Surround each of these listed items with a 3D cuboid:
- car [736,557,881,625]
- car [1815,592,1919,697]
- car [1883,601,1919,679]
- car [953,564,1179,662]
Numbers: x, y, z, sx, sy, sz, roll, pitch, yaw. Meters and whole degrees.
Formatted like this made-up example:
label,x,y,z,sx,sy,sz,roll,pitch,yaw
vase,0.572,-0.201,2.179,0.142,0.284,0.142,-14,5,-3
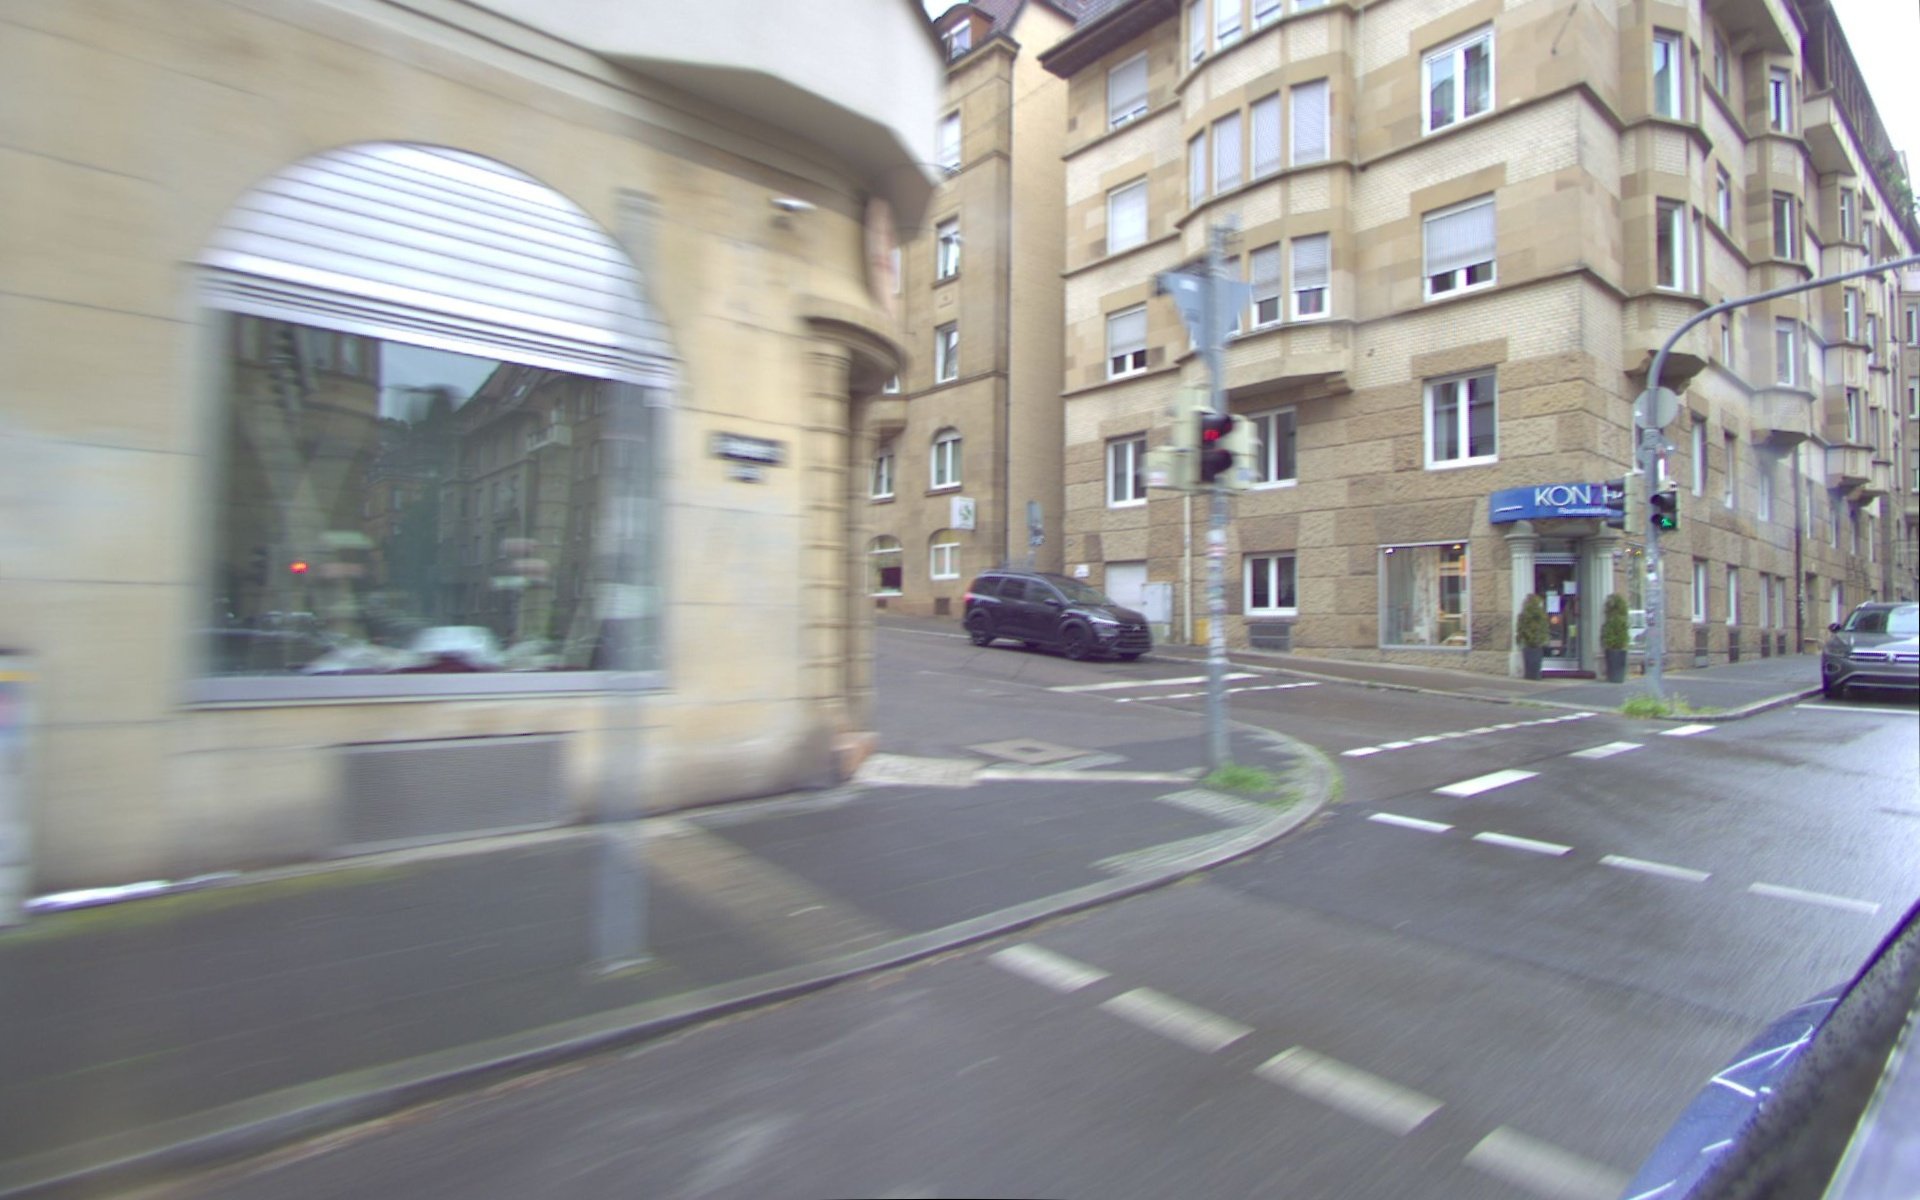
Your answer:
label,x,y,z,sx,sy,sz,roll,pitch,yaw
car,-4.383,-0.288,28.692,1.825,1.481,4.685,9,-3,-39
car,15.709,0.675,16.633,3.920,1.569,1.871,0,-2,-40
car,19.806,0.759,20.201,3.472,1.472,1.707,0,-2,-43
car,2.044,0.198,20.726,1.841,1.673,4.521,2,2,-40
